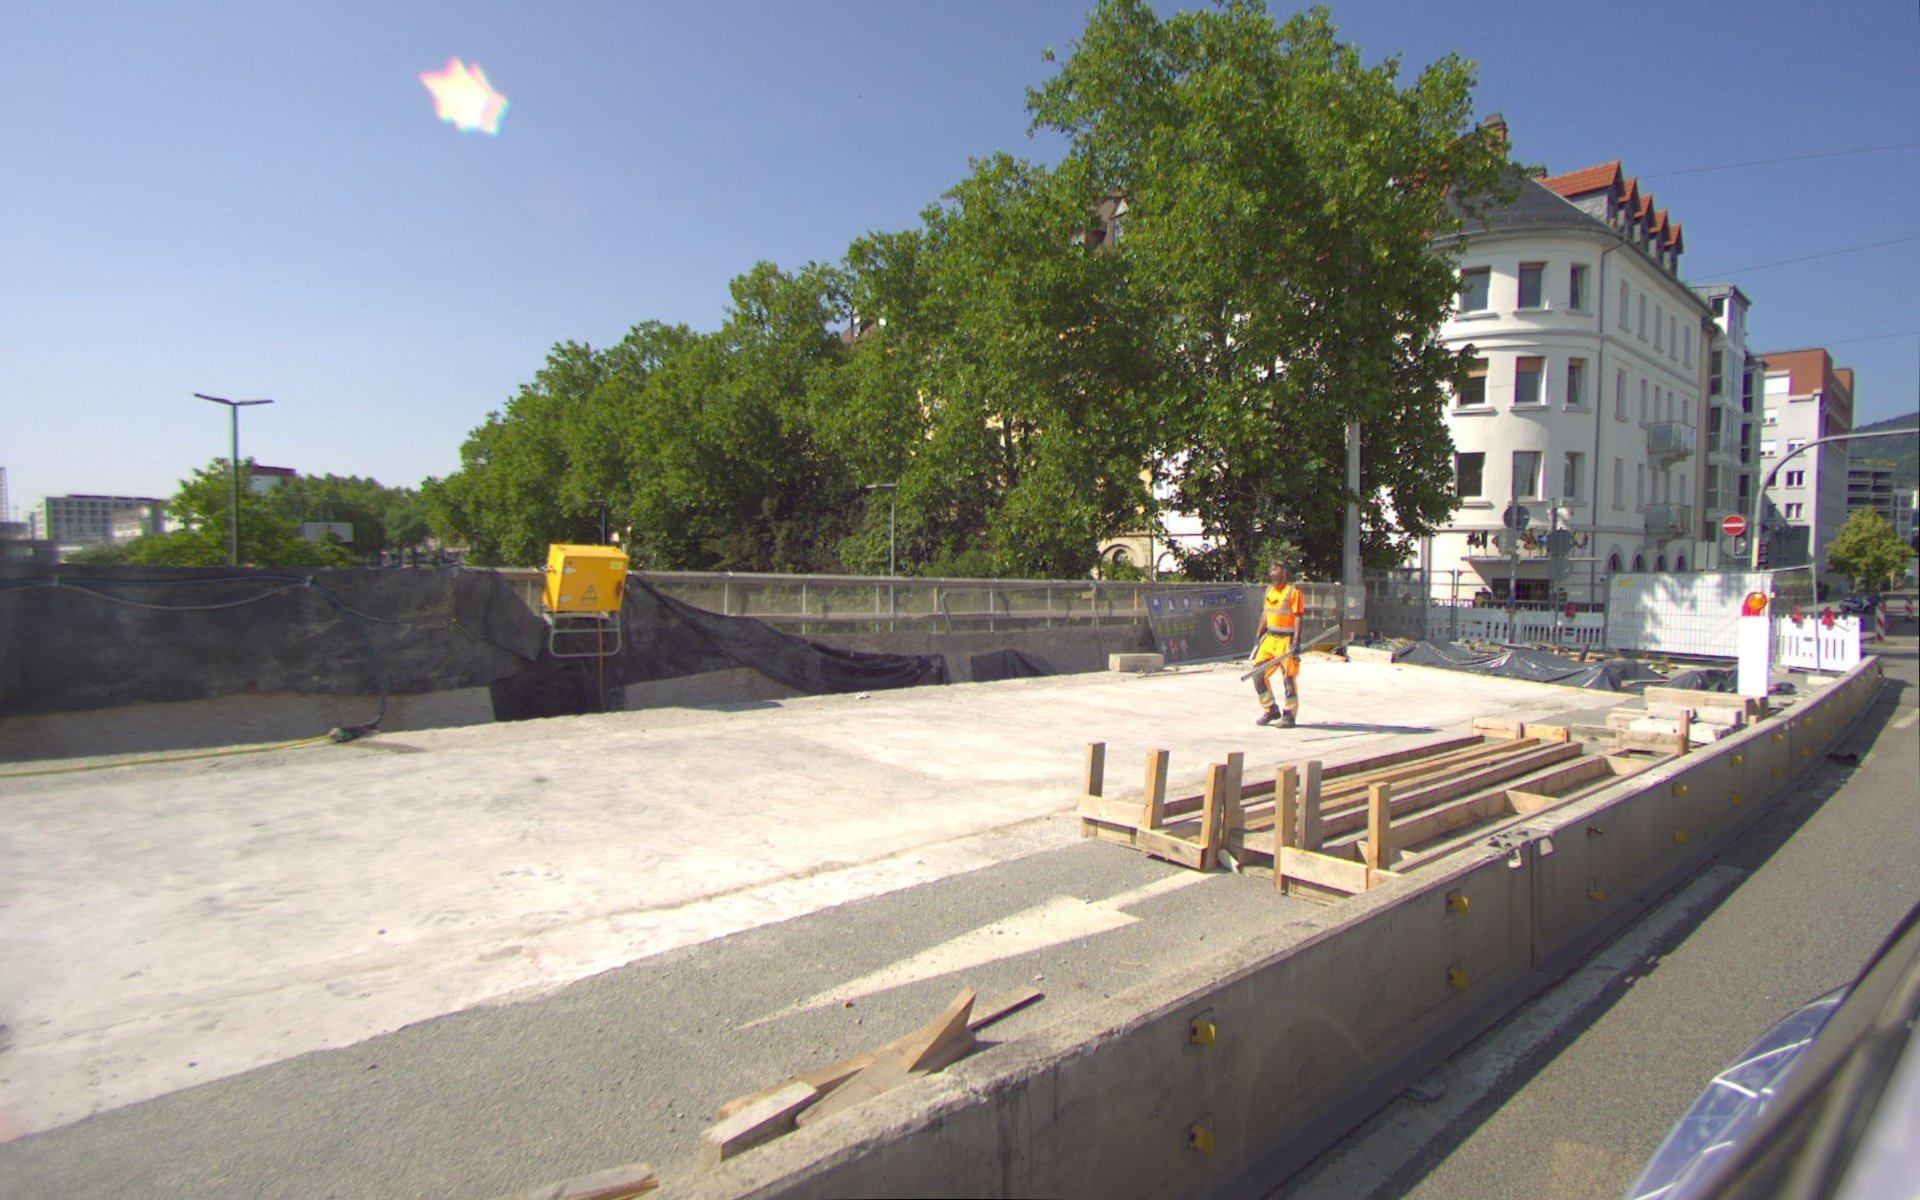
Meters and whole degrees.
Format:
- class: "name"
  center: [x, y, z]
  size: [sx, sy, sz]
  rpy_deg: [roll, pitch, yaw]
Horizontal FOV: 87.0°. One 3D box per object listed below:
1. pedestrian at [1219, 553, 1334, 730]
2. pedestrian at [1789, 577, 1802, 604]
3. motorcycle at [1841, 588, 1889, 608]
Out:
- class: "pedestrian"
  center: [3.471, 0.417, 11.097]
  size: [0.849, 1.816, 0.821]
  rpy_deg: [0, 3, -42]
- class: "pedestrian"
  center: [56.554, -0.665, 68.477]
  size: [0.596, 1.785, 0.741]
  rpy_deg: [2, 2, 42]
- class: "motorcycle"
  center: [57.311, -0.162, 64.104]
  size: [0.731, 1.180, 2.177]
  rpy_deg: [0, 2, -40]
